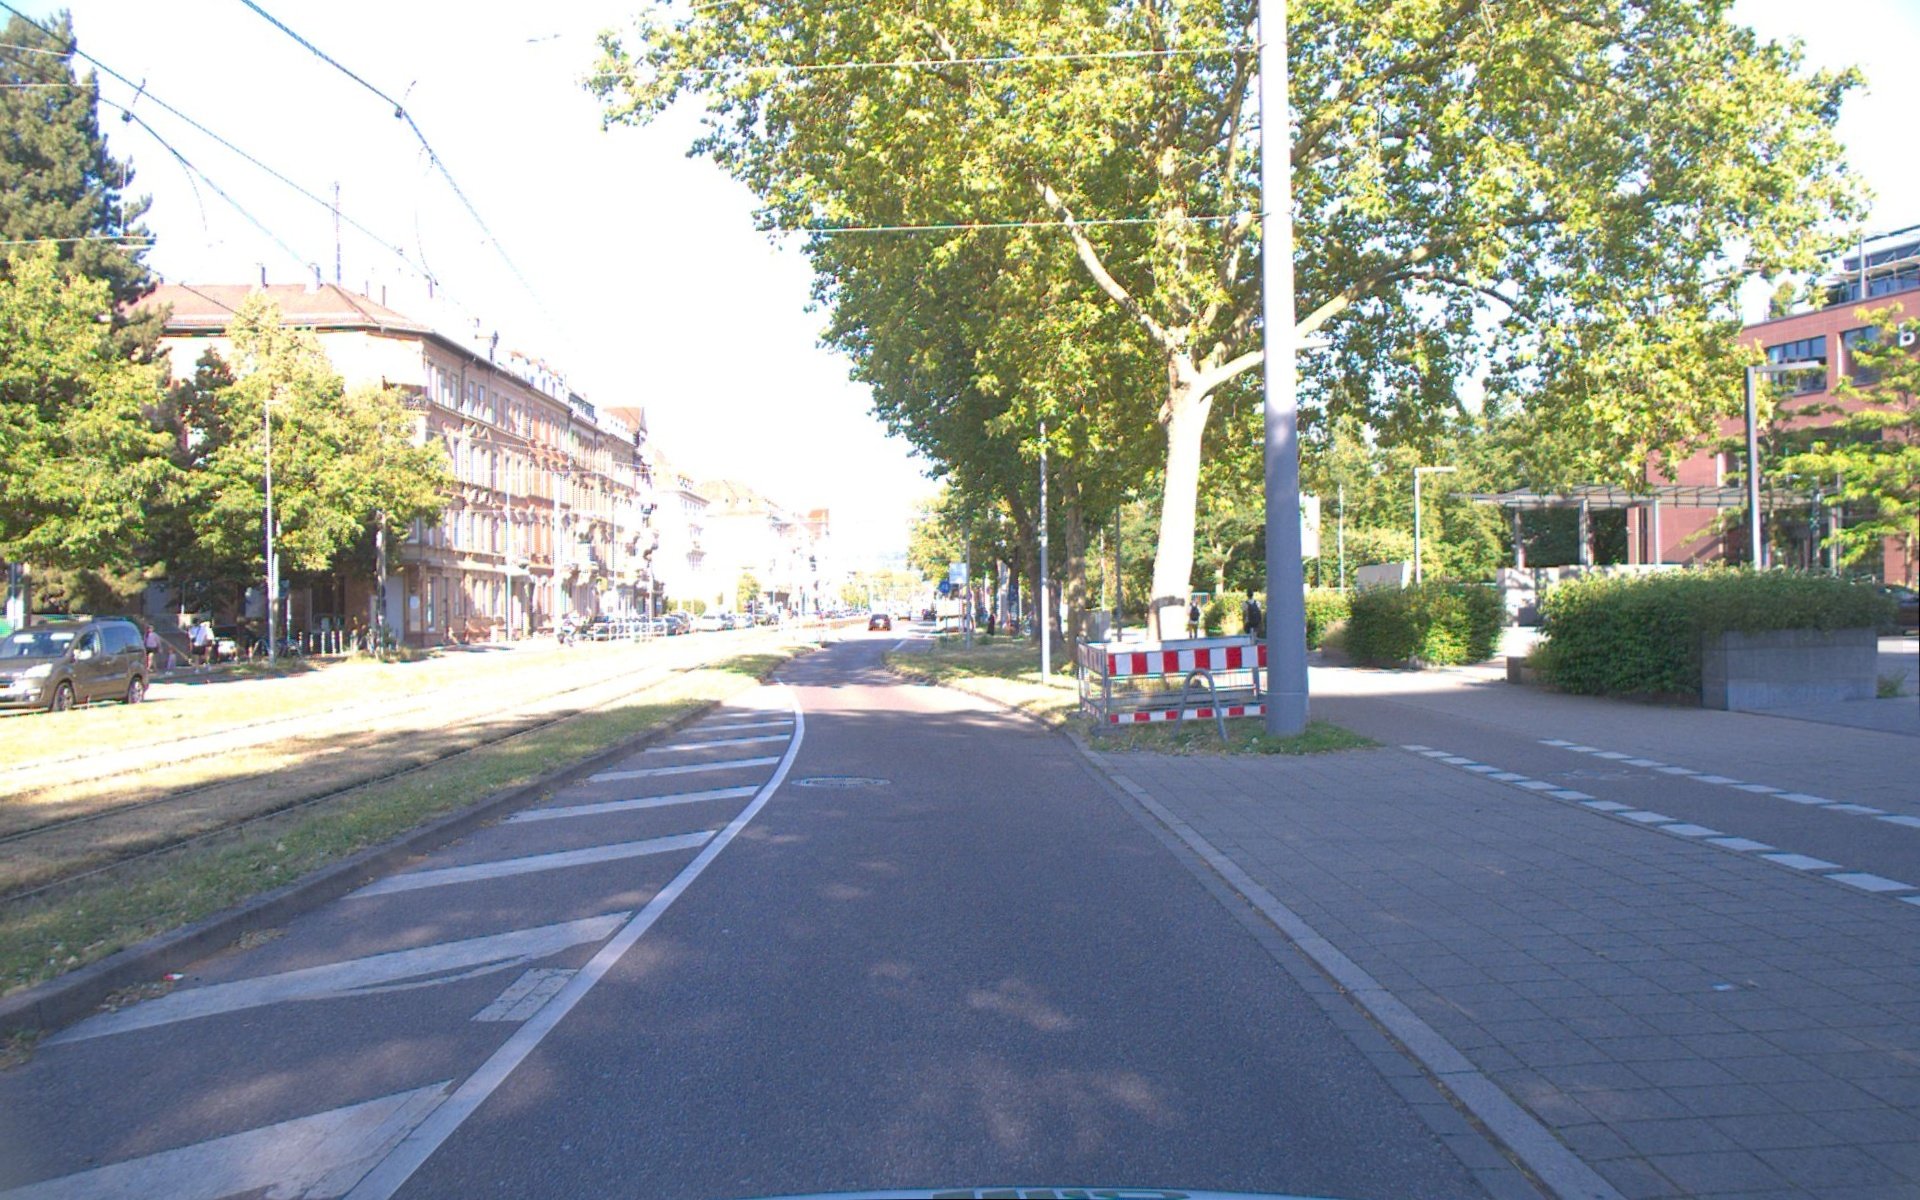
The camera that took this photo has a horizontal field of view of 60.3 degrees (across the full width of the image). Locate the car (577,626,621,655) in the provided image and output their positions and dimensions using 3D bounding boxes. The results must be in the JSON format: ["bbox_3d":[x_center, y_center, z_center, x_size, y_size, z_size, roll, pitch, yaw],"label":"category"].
[{"bbox_3d":[-24.176,2.707,110.916,1.974,1.784,4.557,1,0,-1],"label":"car"}]

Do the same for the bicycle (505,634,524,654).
[{"bbox_3d":[-27.561,2.697,102.284,0.685,1.201,1.751,1,-1,0],"label":"bicycle"}]

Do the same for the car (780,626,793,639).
[{"bbox_3d":[-23.803,4.450,226.935,1.496,1.588,3.222,1,0,-1],"label":"car"}]

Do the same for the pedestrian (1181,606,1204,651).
[{"bbox_3d":[8.278,1.005,58.857,0.636,1.566,0.783,-2,-1,-1],"label":"pedestrian"}]

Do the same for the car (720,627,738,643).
[{"bbox_3d":[-23.947,3.607,171.457,1.496,1.588,3.222,1,0,-1],"label":"car"}]

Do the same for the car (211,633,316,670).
[{"bbox_3d":[-29.712,2.177,70.543,4.098,1.497,1.997,0,-2,28],"label":"car"}]

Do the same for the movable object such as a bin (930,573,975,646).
[{"bbox_3d":[-0.647,0.779,125.434,3.025,5.177,8.889,-3,-1,-1],"label":"movable object such as a bin"}]

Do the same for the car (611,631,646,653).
[{"bbox_3d":[-24.148,3.052,120.586,1.740,1.431,3.908,1,0,-1],"label":"car"}]

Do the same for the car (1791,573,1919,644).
[{"bbox_3d":[24.780,0.188,44.343,4.605,1.743,1.837,-2,0,-21],"label":"car"}]

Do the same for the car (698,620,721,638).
[{"bbox_3d":[-24.431,2.798,161.151,1.706,1.588,3.766,1,0,-1],"label":"car"}]

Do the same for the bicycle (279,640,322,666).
[{"bbox_3d":[-31.314,2.506,78.548,0.768,1.199,2.242,1,-1,11],"label":"bicycle"}]

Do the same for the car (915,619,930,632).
[{"bbox_3d":[-5.740,3.919,253.458,1.955,1.892,3.994,1,-1,-7],"label":"car"}]

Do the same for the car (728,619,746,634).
[{"bbox_3d":[-24.520,2.927,181.937,1.496,1.588,3.222,1,0,-1],"label":"car"}]

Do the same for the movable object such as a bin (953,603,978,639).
[{"bbox_3d":[0.482,1.909,147.600,1.928,3.065,4.795,-3,-1,-1],"label":"movable object such as a bin"}]

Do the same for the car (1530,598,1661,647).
[{"bbox_3d":[22.757,0.790,59.220,4.101,1.533,1.987,-2,0,-21],"label":"car"}]

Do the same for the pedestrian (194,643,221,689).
[{"bbox_3d":[-27.298,2.397,59.985,0.605,1.621,0.797,1,-1,-2],"label":"pedestrian"}]

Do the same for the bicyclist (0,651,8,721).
[{"bbox_3d":[-21.073,1.840,35.364,0.759,1.507,1.134,1,-1,-1],"label":"bicyclist"}]

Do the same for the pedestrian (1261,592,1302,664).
[{"bbox_3d":[8.397,0.728,43.200,0.789,1.825,1.110,-2,-1,0],"label":"pedestrian"}]

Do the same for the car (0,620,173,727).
[{"bbox_3d":[-17.685,1.391,32.645,1.898,1.952,4.475,0,-1,4],"label":"car"}]

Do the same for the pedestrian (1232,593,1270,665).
[{"bbox_3d":[7.564,0.758,42.998,0.735,1.825,1.086,-2,-1,0],"label":"pedestrian"}]

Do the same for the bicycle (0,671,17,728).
[{"bbox_3d":[-21.085,2.148,35.409,0.759,1.214,1.755,1,-1,-1],"label":"bicycle"}]

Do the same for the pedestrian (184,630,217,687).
[{"bbox_3d":[-24.603,1.884,53.573,0.637,1.806,0.888,-2,-1,-2],"label":"pedestrian"}]

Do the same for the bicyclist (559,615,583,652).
[{"bbox_3d":[-19.184,1.642,81.512,0.912,1.745,0.757,-2,2,-36],"label":"bicyclist"}]

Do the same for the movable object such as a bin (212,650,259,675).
[{"bbox_3d":[-26.761,2.311,61.109,1.220,0.880,1.236,1,-1,-3],"label":"movable object such as a bin"}]

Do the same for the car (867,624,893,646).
[{"bbox_3d":[-6.690,2.923,138.640,1.953,1.713,3.999,1,-1,0],"label":"car"}]

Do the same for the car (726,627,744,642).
[{"bbox_3d":[-24.182,3.709,177.988,1.496,1.588,3.222,1,0,-1],"label":"car"}]

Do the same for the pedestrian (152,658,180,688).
[{"bbox_3d":[-25.301,2.323,52.706,0.637,0.948,0.584,-2,-1,-6],"label":"pedestrian"}]

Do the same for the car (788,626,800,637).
[{"bbox_3d":[-25.024,4.759,249.704,1.496,1.588,3.222,1,0,-1],"label":"car"}]

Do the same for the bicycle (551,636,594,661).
[{"bbox_3d":[-19.110,2.391,81.603,1.938,1.058,0.757,-2,2,-36],"label":"bicycle"}]
